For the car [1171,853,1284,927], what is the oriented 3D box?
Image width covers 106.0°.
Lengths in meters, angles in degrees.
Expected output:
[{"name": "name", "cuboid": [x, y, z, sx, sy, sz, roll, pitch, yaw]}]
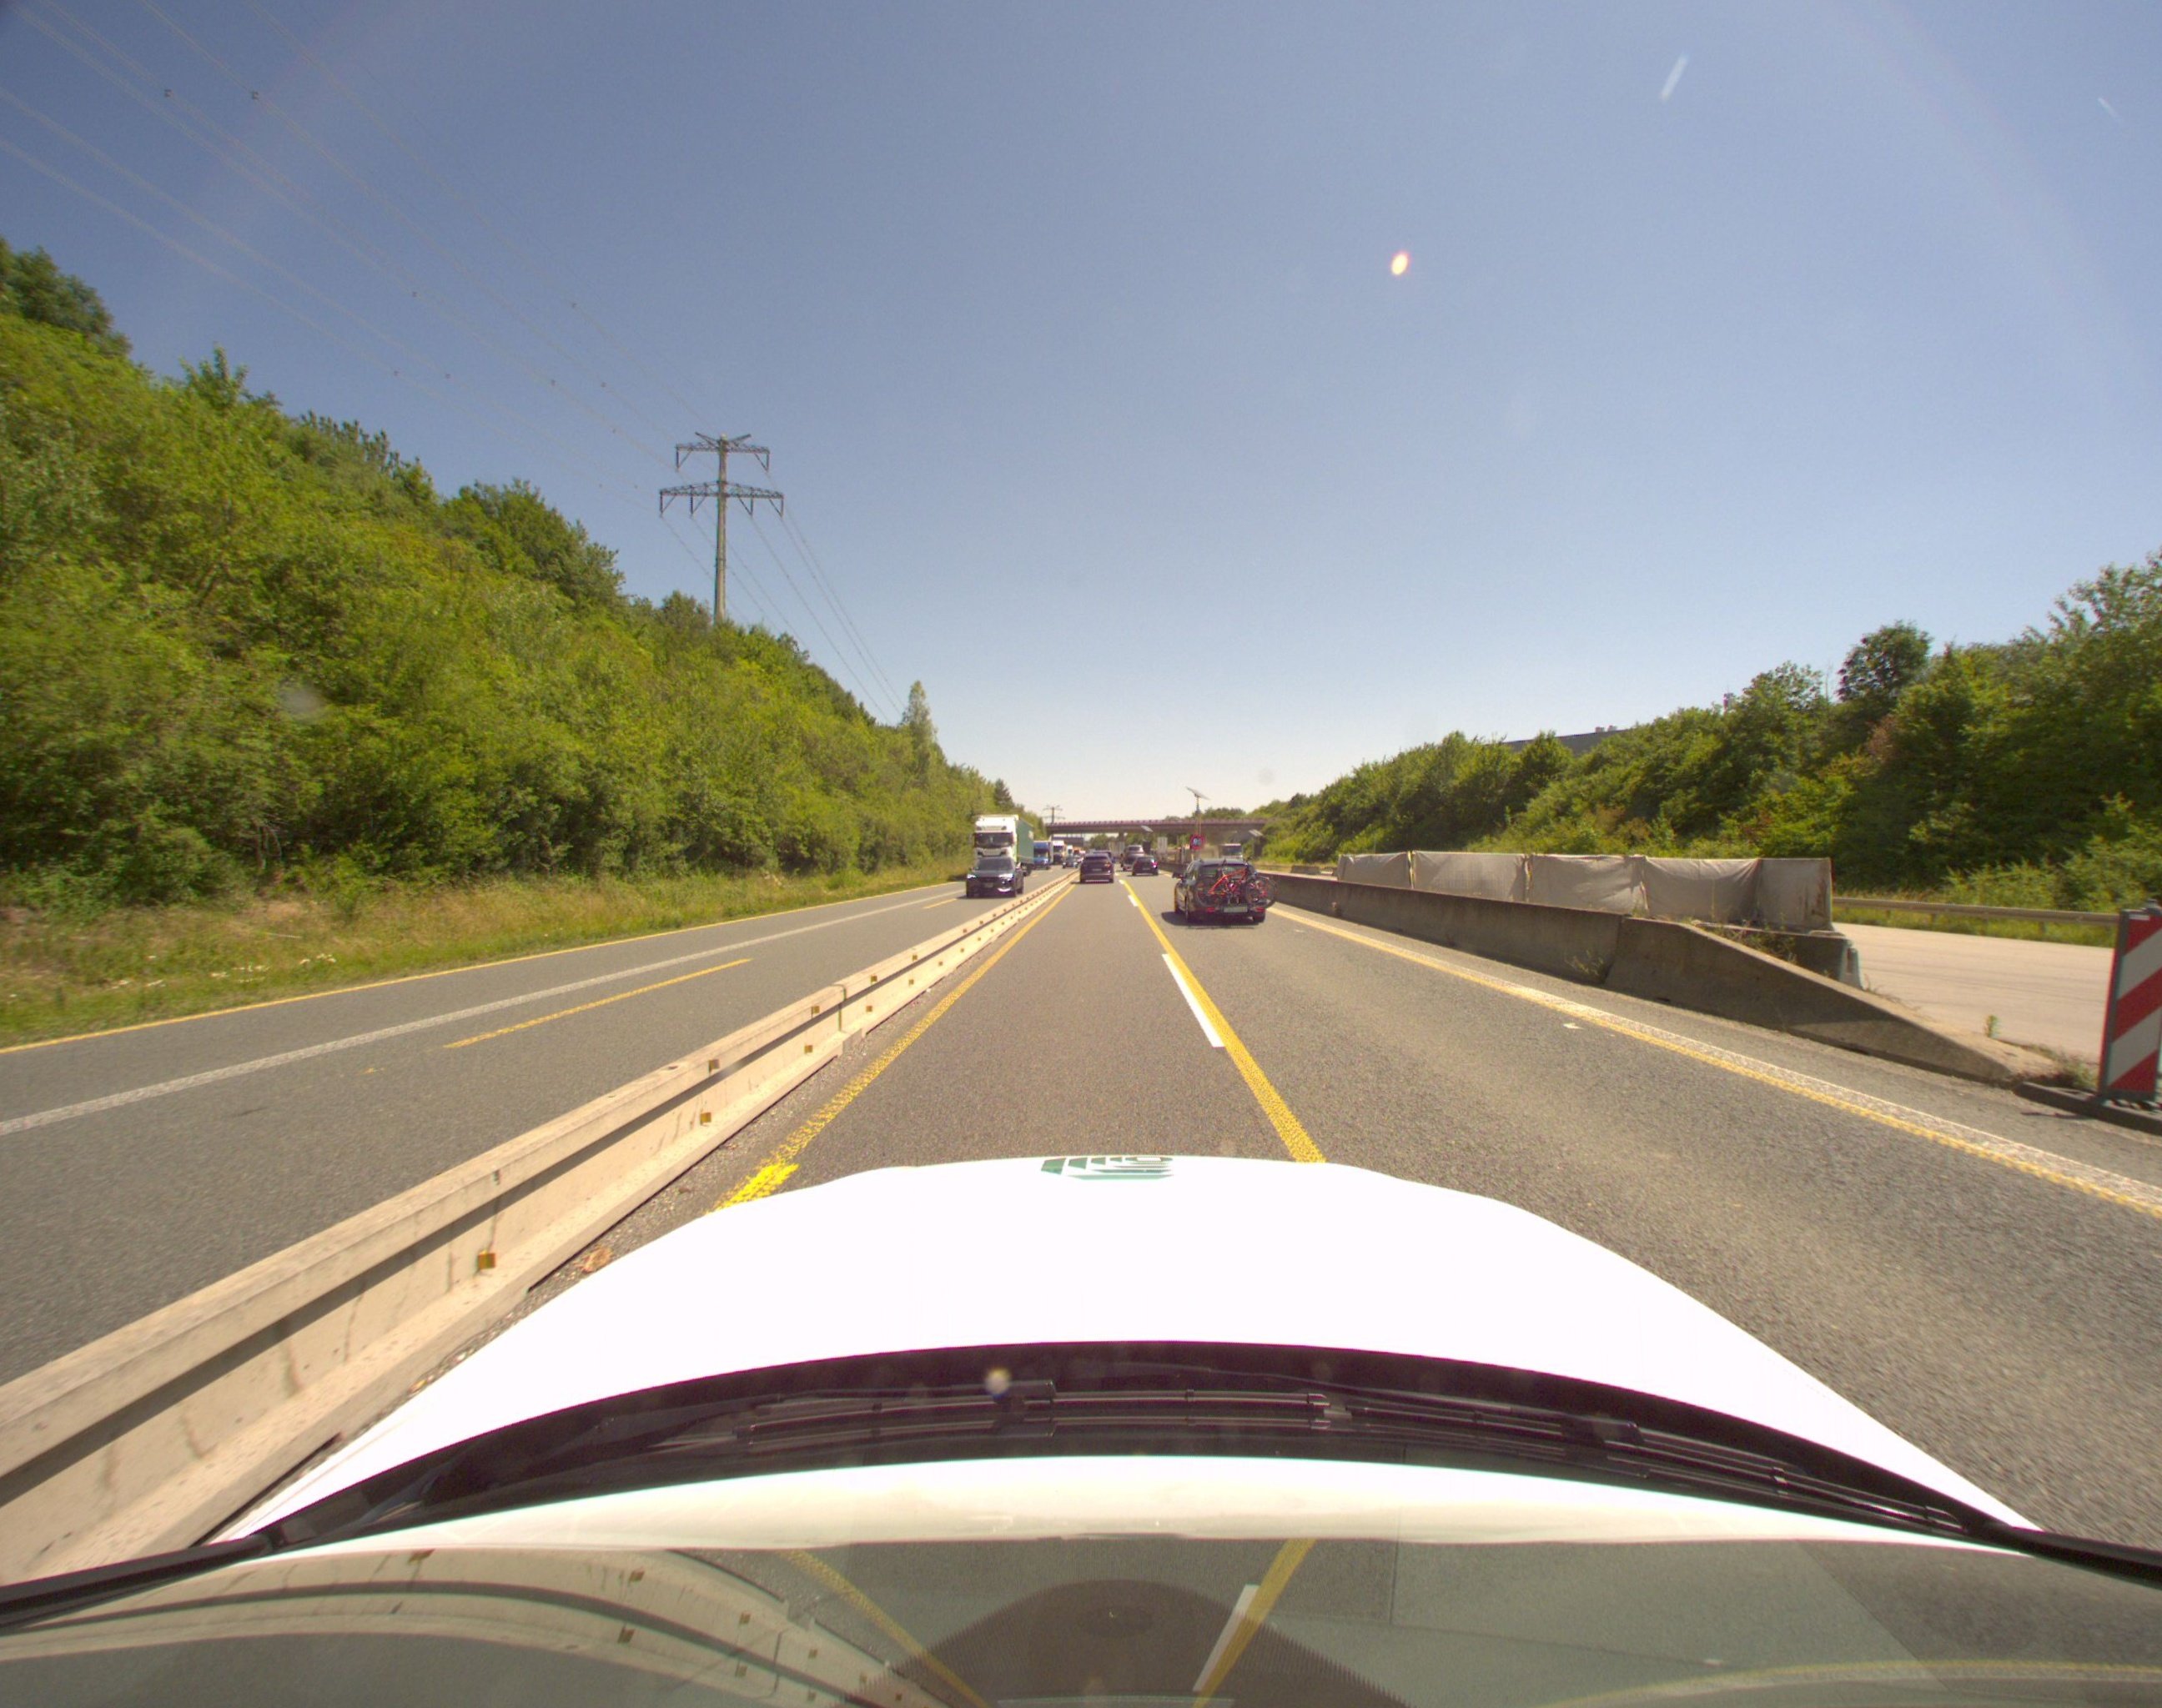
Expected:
[{"name": "car", "cuboid": [3.245, 0.750, 19.000, 1.892, 1.490, 4.949, 0, -1, 2]}]

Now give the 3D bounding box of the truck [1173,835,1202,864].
[{"name": "truck", "cuboid": [13.577, -0.580, 104.276, 2.529, 3.557, 9.604, -1, 0, 1]}]

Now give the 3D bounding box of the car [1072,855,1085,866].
[{"name": "car", "cuboid": [-0.360, 0.961, 120.146, 1.835, 1.490, 4.511, -2, -1, 1]}]

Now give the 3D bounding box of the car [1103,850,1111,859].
[{"name": "car", "cuboid": [5.771, 0.148, 180.890, 1.892, 1.968, 4.278, 0, 0, 2]}]

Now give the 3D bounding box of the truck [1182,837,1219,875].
[{"name": "truck", "cuboid": [11.921, 0.201, 82.102, 2.524, 3.511, 9.098, -1, 0, 1]}]

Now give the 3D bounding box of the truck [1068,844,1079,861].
[{"name": "truck", "cuboid": [-1.787, -0.351, 206.618, 2.401, 3.992, 10.354, 0, 0, 1]}]

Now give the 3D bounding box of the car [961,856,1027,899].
[{"name": "car", "cuboid": [-3.254, 0.840, 31.207, 1.892, 1.505, 4.278, 0, 0, 2]}]

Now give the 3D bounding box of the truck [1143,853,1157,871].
[{"name": "truck", "cuboid": [15.877, 1.786, 187.972, 2.678, 3.856, 9.325, -1, 0, 1]}]

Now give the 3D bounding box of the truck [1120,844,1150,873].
[{"name": "truck", "cuboid": [5.047, 0.399, 77.191, 2.398, 2.558, 7.499, 0, 0, 0]}]

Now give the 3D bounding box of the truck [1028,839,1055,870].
[{"name": "truck", "cuboid": [-4.376, 0.077, 91.549, 2.396, 3.330, 7.504, 0, 0, 2]}]

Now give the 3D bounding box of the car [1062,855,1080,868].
[{"name": "car", "cuboid": [-1.171, 0.882, 96.464, 1.754, 1.490, 4.405, 0, -1, 3]}]

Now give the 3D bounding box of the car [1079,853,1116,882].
[{"name": "car", "cuboid": [0.933, 0.719, 44.549, 1.892, 1.505, 4.278, 0, 0, 2]}]

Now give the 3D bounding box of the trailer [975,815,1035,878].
[{"name": "trailer", "cuboid": [-5.379, -0.478, 60.041, 2.881, 4.125, 13.247, 0, 0, 1]}]

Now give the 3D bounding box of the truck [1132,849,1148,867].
[{"name": "truck", "cuboid": [12.540, 0.853, 174.190, 2.678, 3.761, 9.325, -1, 0, 1]}]

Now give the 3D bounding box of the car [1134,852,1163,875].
[{"name": "car", "cuboid": [4.746, 0.683, 58.021, 1.892, 1.585, 4.278, 0, 0, 2]}]

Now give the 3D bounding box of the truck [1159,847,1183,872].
[{"name": "truck", "cuboid": [13.510, 0.777, 123.018, 2.677, 3.557, 9.605, -1, 0, 1]}]

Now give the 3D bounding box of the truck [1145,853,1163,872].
[{"name": "truck", "cuboid": [13.873, 1.643, 155.846, 2.678, 3.557, 9.324, -1, 0, 0]}]

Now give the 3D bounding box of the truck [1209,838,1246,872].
[{"name": "truck", "cuboid": [16.062, 0.134, 89.917, 2.678, 3.511, 8.381, -1, 0, 1]}]

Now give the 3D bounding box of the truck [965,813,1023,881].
[{"name": "truck", "cuboid": [-5.548, -0.449, 52.993, 2.884, 4.118, 6.021, -1, 0, 1]}]

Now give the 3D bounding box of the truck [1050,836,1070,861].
[{"name": "truck", "cuboid": [-3.508, -0.831, 136.139, 2.639, 3.992, 9.655, 1, 0, 2]}]

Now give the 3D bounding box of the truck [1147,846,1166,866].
[{"name": "truck", "cuboid": [13.439, 0.363, 145.735, 2.678, 3.557, 9.324, -1, 0, 0]}]

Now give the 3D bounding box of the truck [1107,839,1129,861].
[{"name": "truck", "cuboid": [6.542, -0.656, 146.220, 3.283, 3.845, 10.105, -1, 0, -1]}]

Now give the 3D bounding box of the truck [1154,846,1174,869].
[{"name": "truck", "cuboid": [13.631, 0.524, 134.394, 2.677, 3.557, 9.410, -1, 0, 2]}]

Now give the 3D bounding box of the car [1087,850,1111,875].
[{"name": "car", "cuboid": [1.492, 0.661, 66.695, 1.892, 1.968, 4.278, 0, 0, 2]}]
